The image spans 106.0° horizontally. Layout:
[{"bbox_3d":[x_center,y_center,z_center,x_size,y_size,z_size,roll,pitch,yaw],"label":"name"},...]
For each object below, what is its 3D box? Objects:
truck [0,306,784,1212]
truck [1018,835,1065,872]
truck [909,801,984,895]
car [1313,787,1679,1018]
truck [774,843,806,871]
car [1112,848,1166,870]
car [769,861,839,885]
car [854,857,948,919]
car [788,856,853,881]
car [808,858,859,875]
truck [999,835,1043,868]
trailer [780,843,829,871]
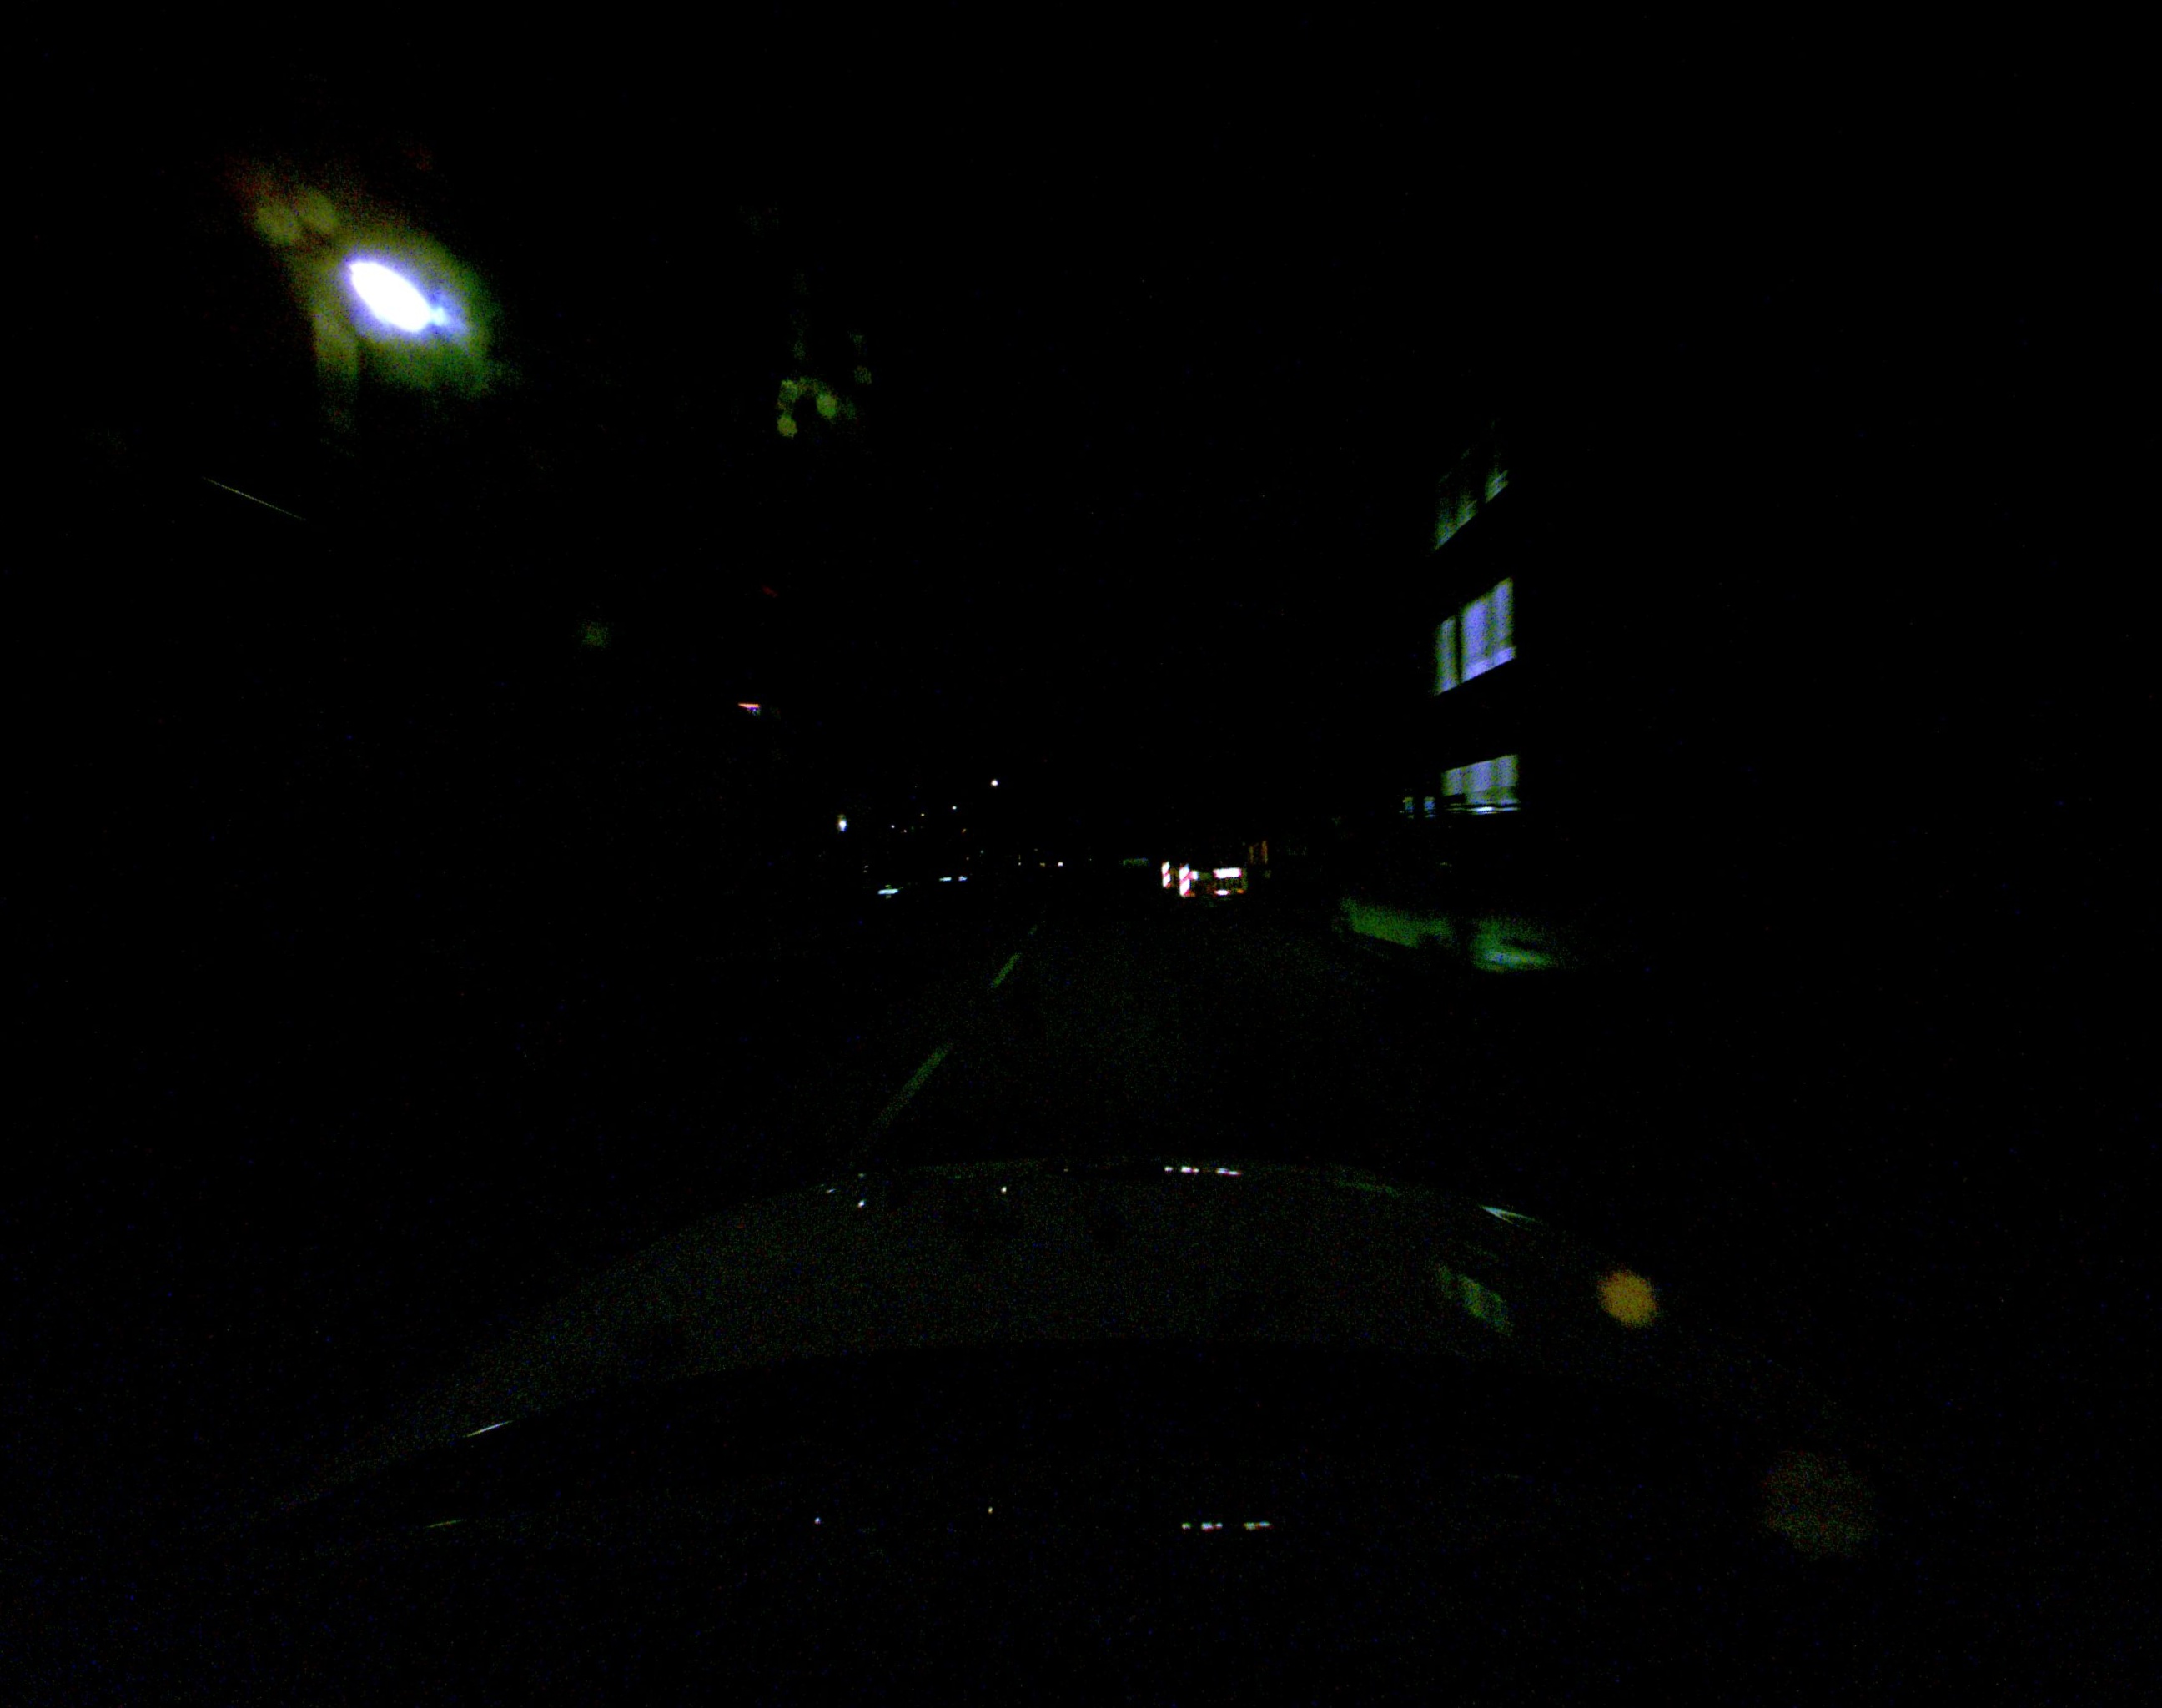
[{"bbox_3d":[-6.098,-0.413,7.846,2.737,4.034,9.561,-1,0,1],"label":"truck"},{"bbox_3d":[-4.480,-0.028,89.545,2.763,3.783,9.081,-2,0,-18],"label":"truck"},{"bbox_3d":[-6.557,-0.252,41.119,2.767,4.120,9.326,-2,0,-4],"label":"truck"},{"bbox_3d":[4.449,0.440,9.826,1.986,2.013,4.914,-2,0,2],"label":"car"},{"bbox_3d":[-41.663,0.454,116.683,3.051,3.932,4.498,0,0,-3],"label":"truck"},{"bbox_3d":[5.177,0.425,72.276,4.340,1.646,1.880,-4,1,-20],"label":"car"},{"bbox_3d":[-19.170,1.296,56.621,4.411,1.482,1.883,-1,0,-15],"label":"car"},{"bbox_3d":[-5.702,0.997,26.461,1.938,1.717,5.195,-2,0,-1],"label":"car"},{"bbox_3d":[-20.343,1.122,63.773,4.614,1.816,1.953,-1,0,-15],"label":"car"},{"bbox_3d":[-23.092,1.153,76.064,4.411,1.478,1.842,-1,0,-15],"label":"car"},{"bbox_3d":[-7.425,-0.225,99.325,2.763,3.783,10.161,-2,0,-18],"label":"truck"},{"bbox_3d":[-42.003,0.459,124.536,3.051,3.932,14.987,0,0,-3],"label":"trailer"}]
